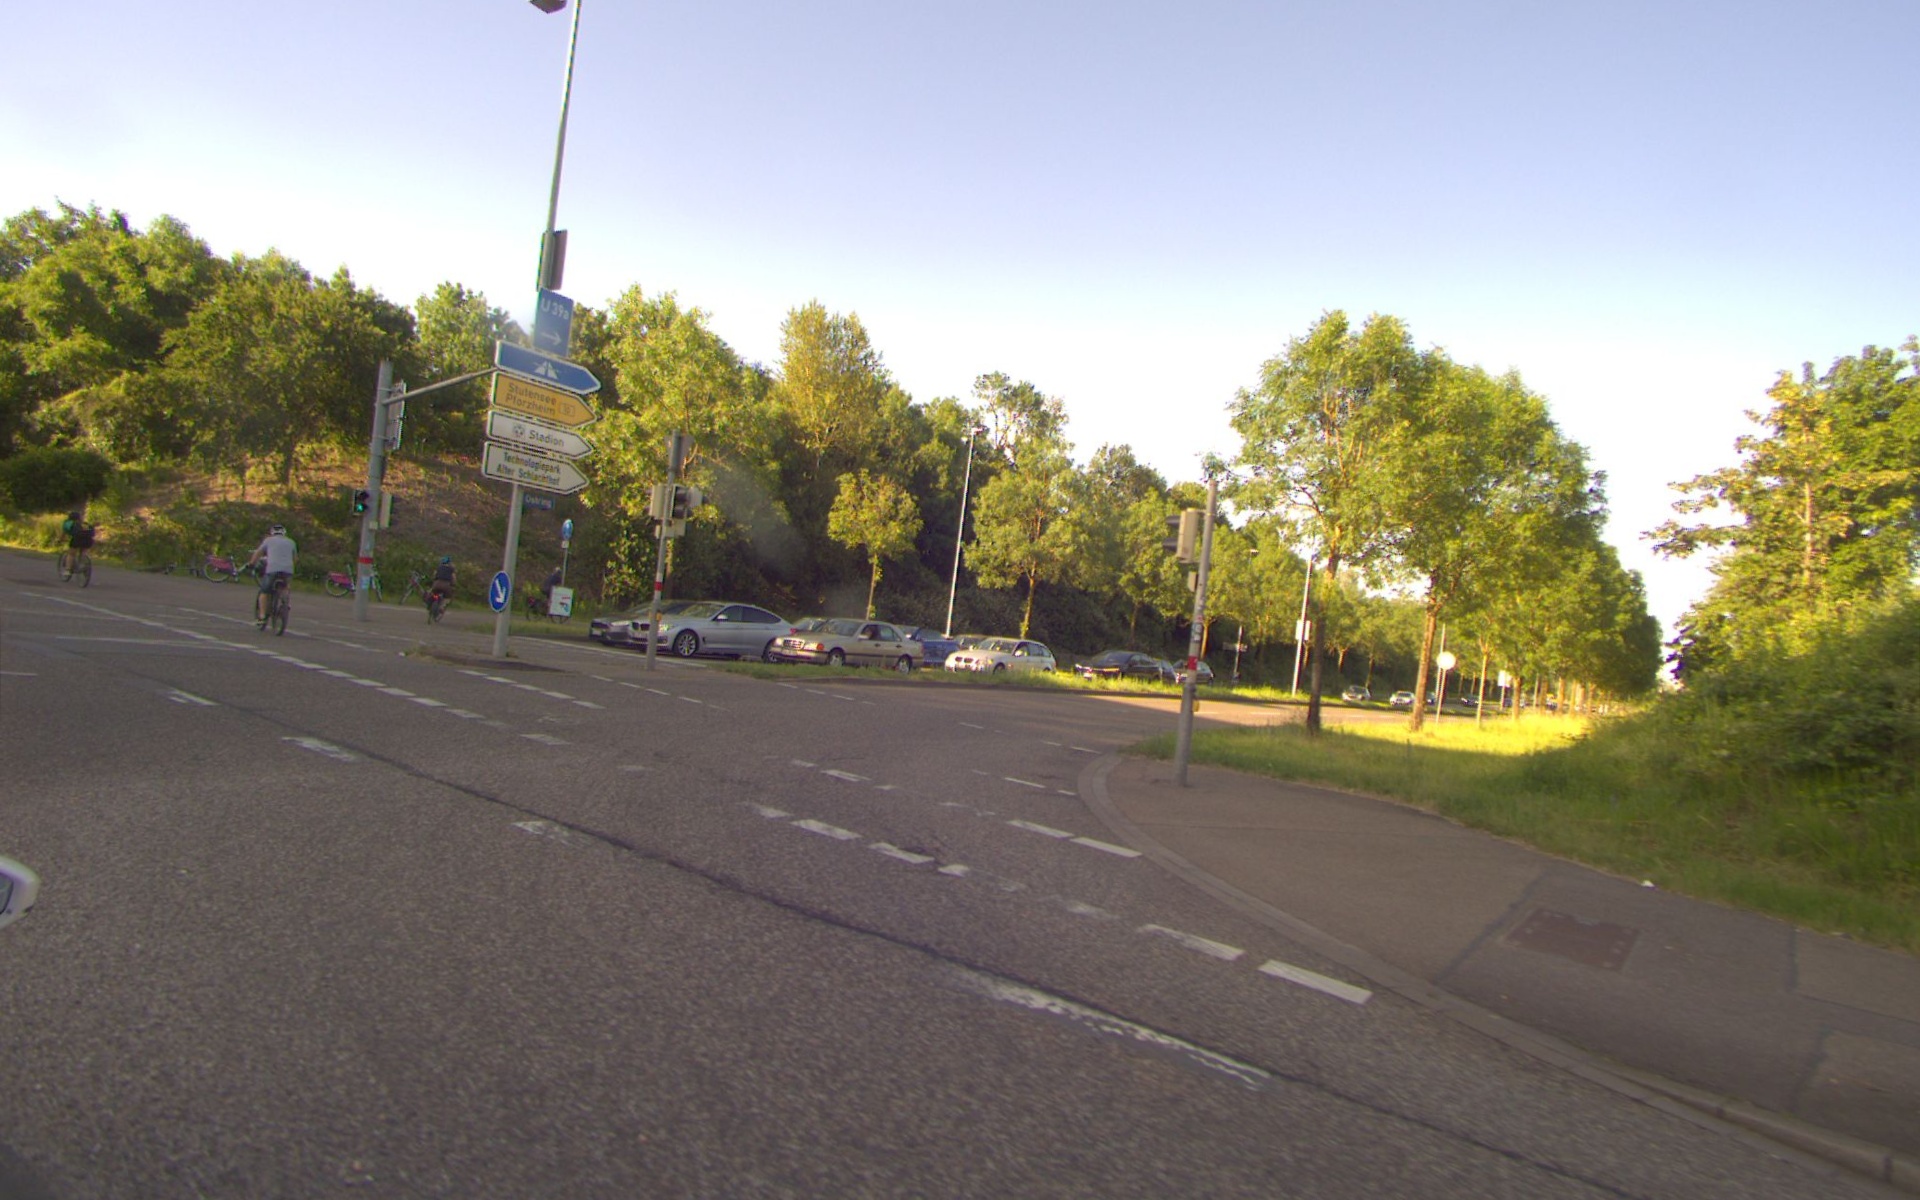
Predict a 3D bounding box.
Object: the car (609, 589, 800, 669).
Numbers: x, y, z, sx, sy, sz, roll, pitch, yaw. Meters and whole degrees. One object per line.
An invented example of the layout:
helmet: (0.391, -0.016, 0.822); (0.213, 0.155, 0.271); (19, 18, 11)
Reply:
car: (-6.492, 0.800, 26.019); (1.801, 1.530, 4.550); (4, -4, 37)

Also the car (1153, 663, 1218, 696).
car: (13.034, 4.603, 58.013); (1.801, 1.530, 4.550); (4, -4, 37)

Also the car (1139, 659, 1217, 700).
car: (10.470, 3.834, 48.136); (1.801, 1.530, 4.550); (4, -4, 37)

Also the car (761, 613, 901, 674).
car: (-4.178, 1.484, 33.275); (1.801, 1.530, 4.550); (4, -4, 37)

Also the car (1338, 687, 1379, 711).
car: (31.660, 7.881, 79.822); (1.801, 1.530, 4.550); (4, -4, 37)

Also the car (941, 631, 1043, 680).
car: (1.374, 2.288, 41.145); (1.801, 1.530, 4.550); (4, -4, 37)

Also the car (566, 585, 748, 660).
car: (-8.272, 0.669, 27.870); (1.801, 1.530, 4.550); (4, -4, 37)

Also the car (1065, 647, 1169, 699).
car: (5.967, 2.774, 37.790); (1.801, 1.530, 4.550); (4, -4, 37)

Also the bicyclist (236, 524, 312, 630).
bicyclist: (-10.779, -0.356, 15.805); (0.757, 1.566, 0.592); (5, -3, 33)

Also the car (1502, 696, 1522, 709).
car: (83.402, 15.497, 151.979); (1.801, 1.530, 4.550); (4, -4, 37)

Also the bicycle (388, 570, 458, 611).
bicycle: (-16.539, -0.294, 31.007); (0.586, 1.034, 1.741); (4, -4, 45)

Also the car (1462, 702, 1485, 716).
car: (66.192, 14.067, 129.740); (1.801, 1.530, 4.550); (4, -4, 37)

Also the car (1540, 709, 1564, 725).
car: (67.856, 13.386, 115.342); (1.801, 1.530, 4.550); (4, -4, 37)

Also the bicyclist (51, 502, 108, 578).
bicyclist: (-19.947, -1.362, 22.786); (0.927, 1.632, 0.592); (5, -3, 33)

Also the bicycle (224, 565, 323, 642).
bicycle: (-10.800, 0.045, 15.811); (1.722, 1.035, 0.592); (4, -3, 33)

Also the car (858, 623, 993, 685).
car: (-1.032, 1.792, 32.564); (1.801, 1.530, 4.550); (4, -4, 37)

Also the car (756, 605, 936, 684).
car: (-2.794, 1.179, 25.627); (1.801, 1.530, 4.550); (4, -4, 37)

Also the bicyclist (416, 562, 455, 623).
bicyclist: (-13.547, -0.181, 26.003); (0.658, 1.491, 0.748); (7, -2, -21)

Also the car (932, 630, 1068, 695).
car: (1.312, 1.953, 30.895); (1.801, 1.530, 4.550); (4, -4, 37)

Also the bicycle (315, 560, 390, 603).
bicycle: (-18.163, -0.546, 30.095); (0.585, 1.034, 1.745); (4, -4, 39)

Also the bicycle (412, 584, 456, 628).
bicycle: (-13.571, 0.172, 25.996); (0.664, 1.034, 2.047); (7, -3, -21)

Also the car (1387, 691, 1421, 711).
car: (41.557, 9.484, 94.033); (1.801, 1.530, 4.550); (4, -4, 37)

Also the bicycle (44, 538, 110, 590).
bicycle: (-20.001, -0.819, 22.784); (1.722, 1.035, 0.592); (4, -3, 33)

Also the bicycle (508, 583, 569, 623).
bicycle: (-13.262, 0.102, 31.696); (0.657, 1.034, 1.752); (5, -3, 21)

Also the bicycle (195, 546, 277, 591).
bicycle: (-20.685, -0.888, 28.774); (0.585, 1.034, 1.745); (4, -4, 39)

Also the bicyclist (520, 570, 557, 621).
bicyclist: (-13.262, -0.131, 31.663); (0.639, 1.498, 0.618); (7, -1, 19)
